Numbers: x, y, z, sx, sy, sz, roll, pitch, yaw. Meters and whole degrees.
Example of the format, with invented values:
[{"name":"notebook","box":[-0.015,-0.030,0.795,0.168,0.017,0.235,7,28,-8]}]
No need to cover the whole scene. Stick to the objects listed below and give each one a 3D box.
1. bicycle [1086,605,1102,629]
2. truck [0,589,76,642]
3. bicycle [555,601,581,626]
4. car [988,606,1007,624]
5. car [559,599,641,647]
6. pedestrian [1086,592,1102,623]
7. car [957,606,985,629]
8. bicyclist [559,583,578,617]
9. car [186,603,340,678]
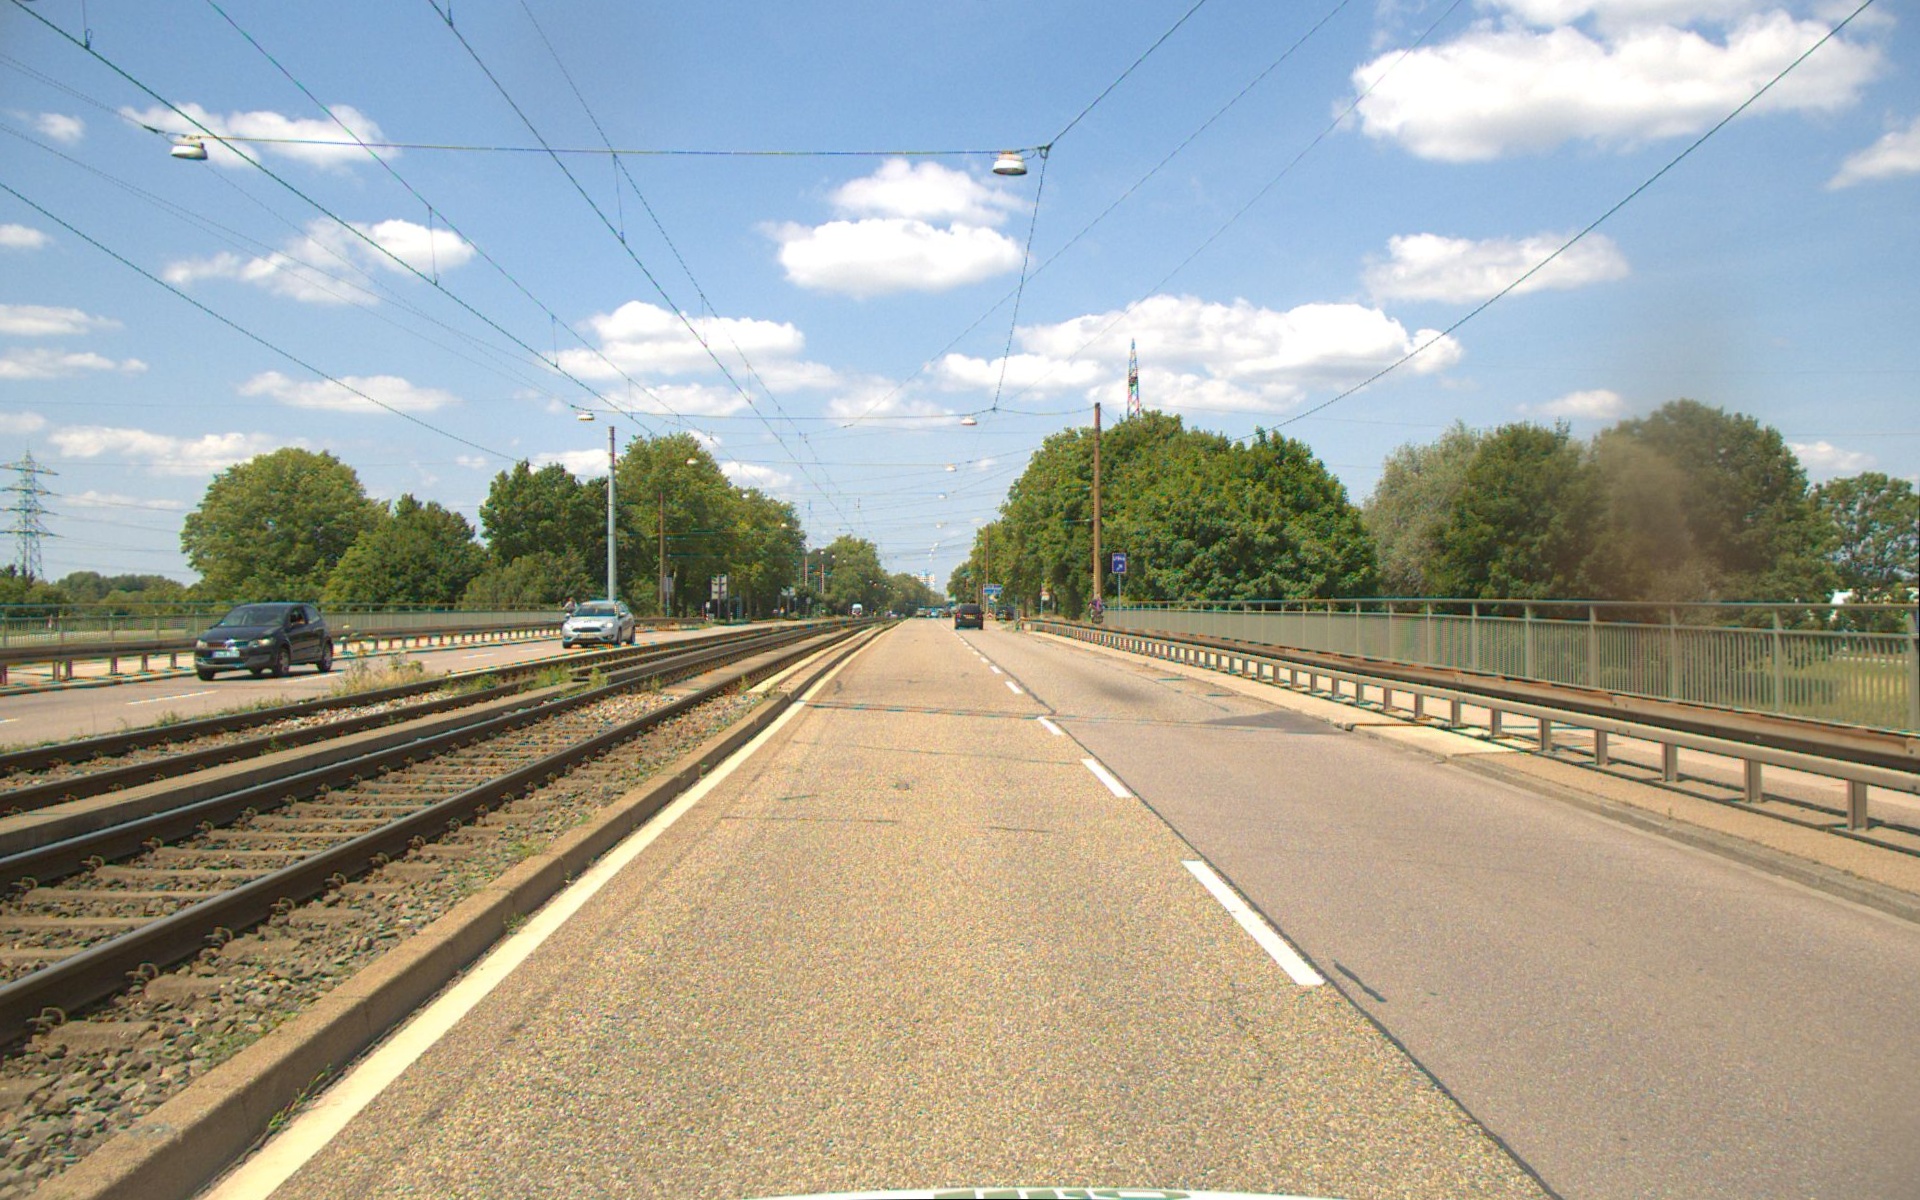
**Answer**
[{"name":"bicycle","box":[6.095,0.779,75.108,0.548,1.042,1.847,0,-1,-1]},{"name":"truck","box":[-110.427,1.754,194.768,10.683,5.735,3.257,3,1,-34]},{"name":"bicycle","box":[-19.756,0.674,83.320,0.839,1.206,2.061,1,-1,-2]},{"name":"car","box":[4.305,1.742,190.491,1.953,2.004,3.999,1,-1,-1]},{"name":"car","box":[-11.500,0.735,53.077,1.676,1.445,4.623,-1,0,-1]},{"name":"pedestrian","box":[6.092,0.326,75.183,0.615,1.398,1.050,0,-1,-1]},{"name":"car","box":[0.640,1.059,102.353,1.554,1.366,3.270,-1,0,-3]},{"name":"bicyclist","box":[-19.705,0.008,83.253,0.747,1.650,0.838,1,-1,-2]},{"name":"car","box":[-14.042,0.785,33.547,1.542,1.424,3.936,-1,0,-2]}]
